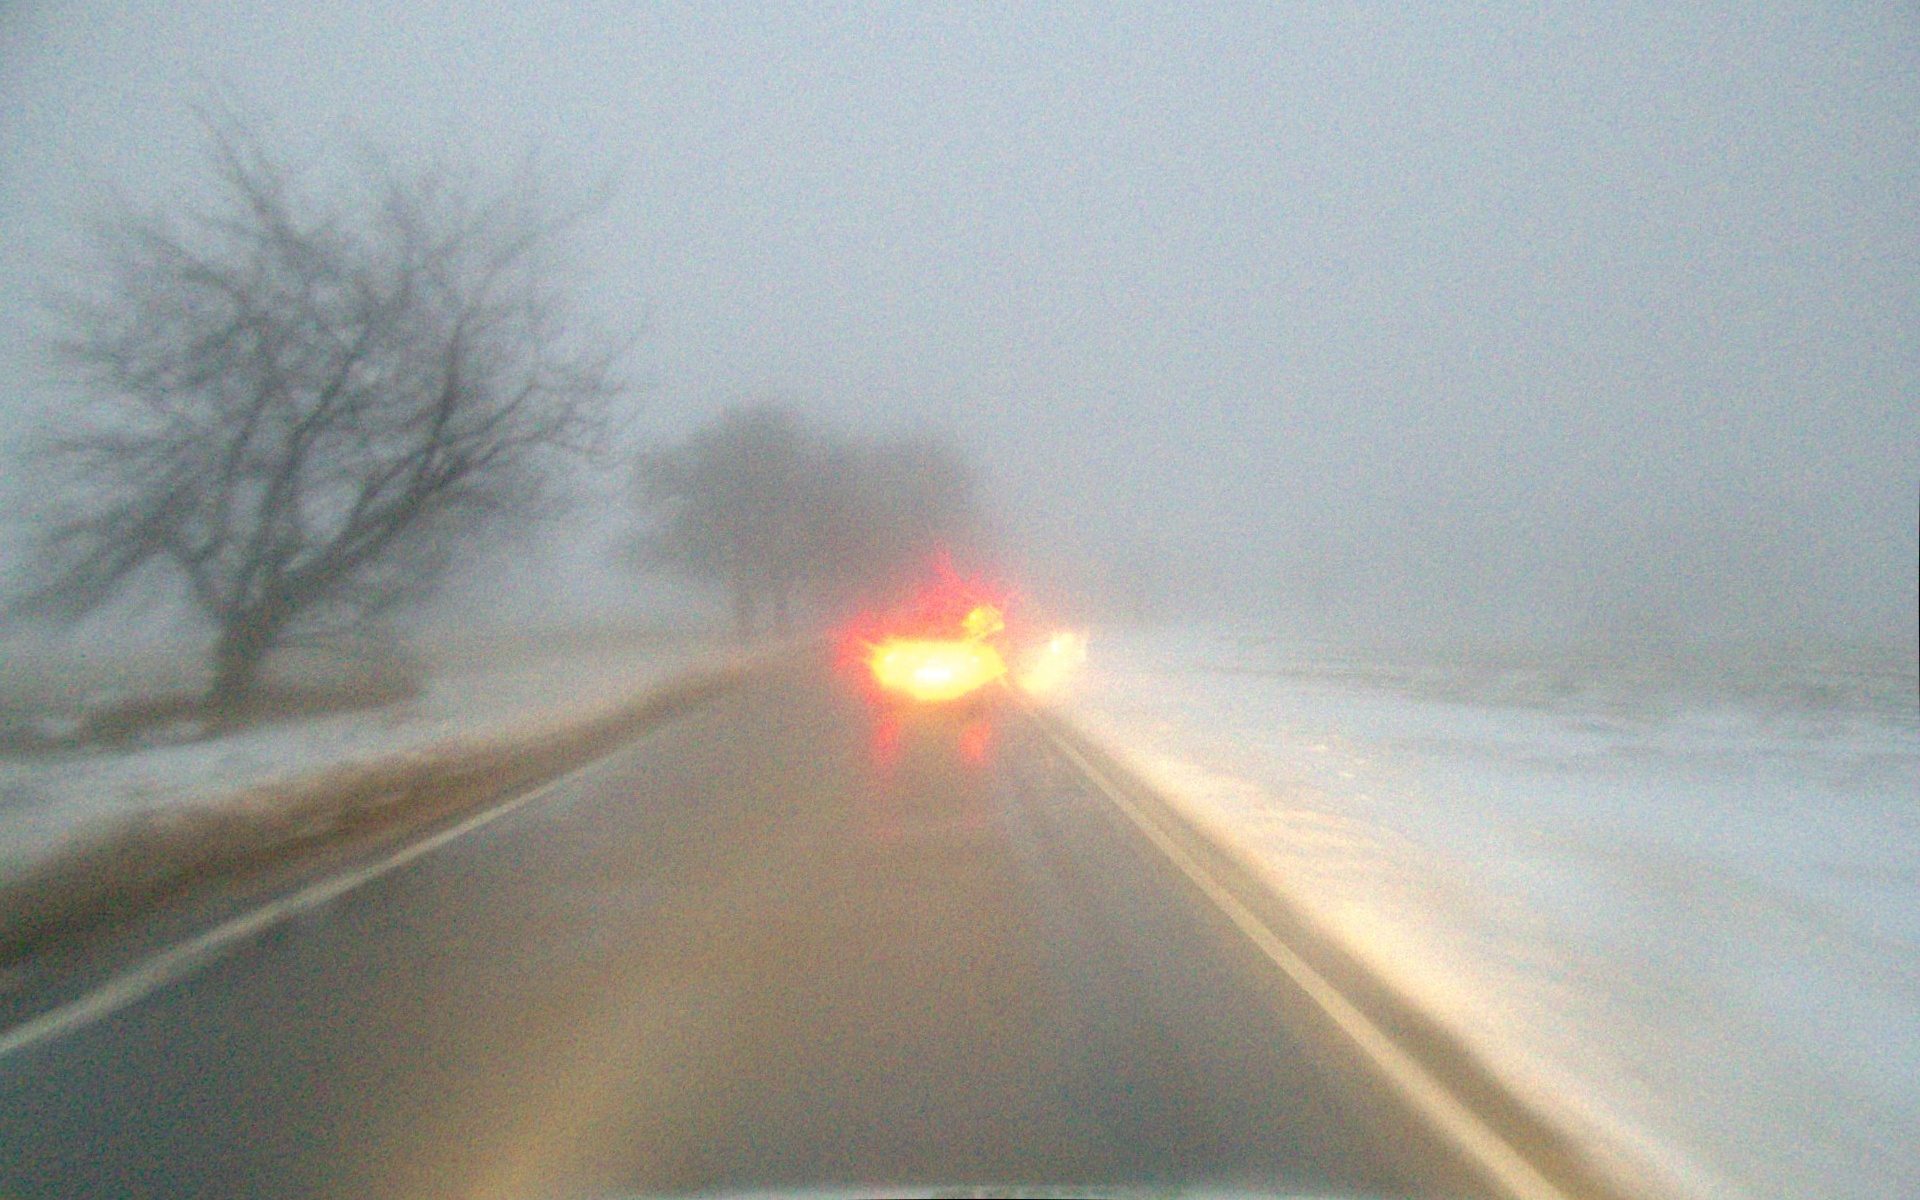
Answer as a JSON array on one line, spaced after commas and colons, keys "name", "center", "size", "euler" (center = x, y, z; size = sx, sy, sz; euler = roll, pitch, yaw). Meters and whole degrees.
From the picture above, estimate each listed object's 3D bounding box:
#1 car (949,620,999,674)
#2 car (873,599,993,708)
[{"name": "car", "center": [0.418, 1.366, 49.029], "size": [1.448, 1.534, 3.053], "euler": [0, 0, 1]}, {"name": "car", "center": [-0.346, 0.762, 25.658], "size": [1.672, 1.489, 4.001], "euler": [2, 0, 1]}]
